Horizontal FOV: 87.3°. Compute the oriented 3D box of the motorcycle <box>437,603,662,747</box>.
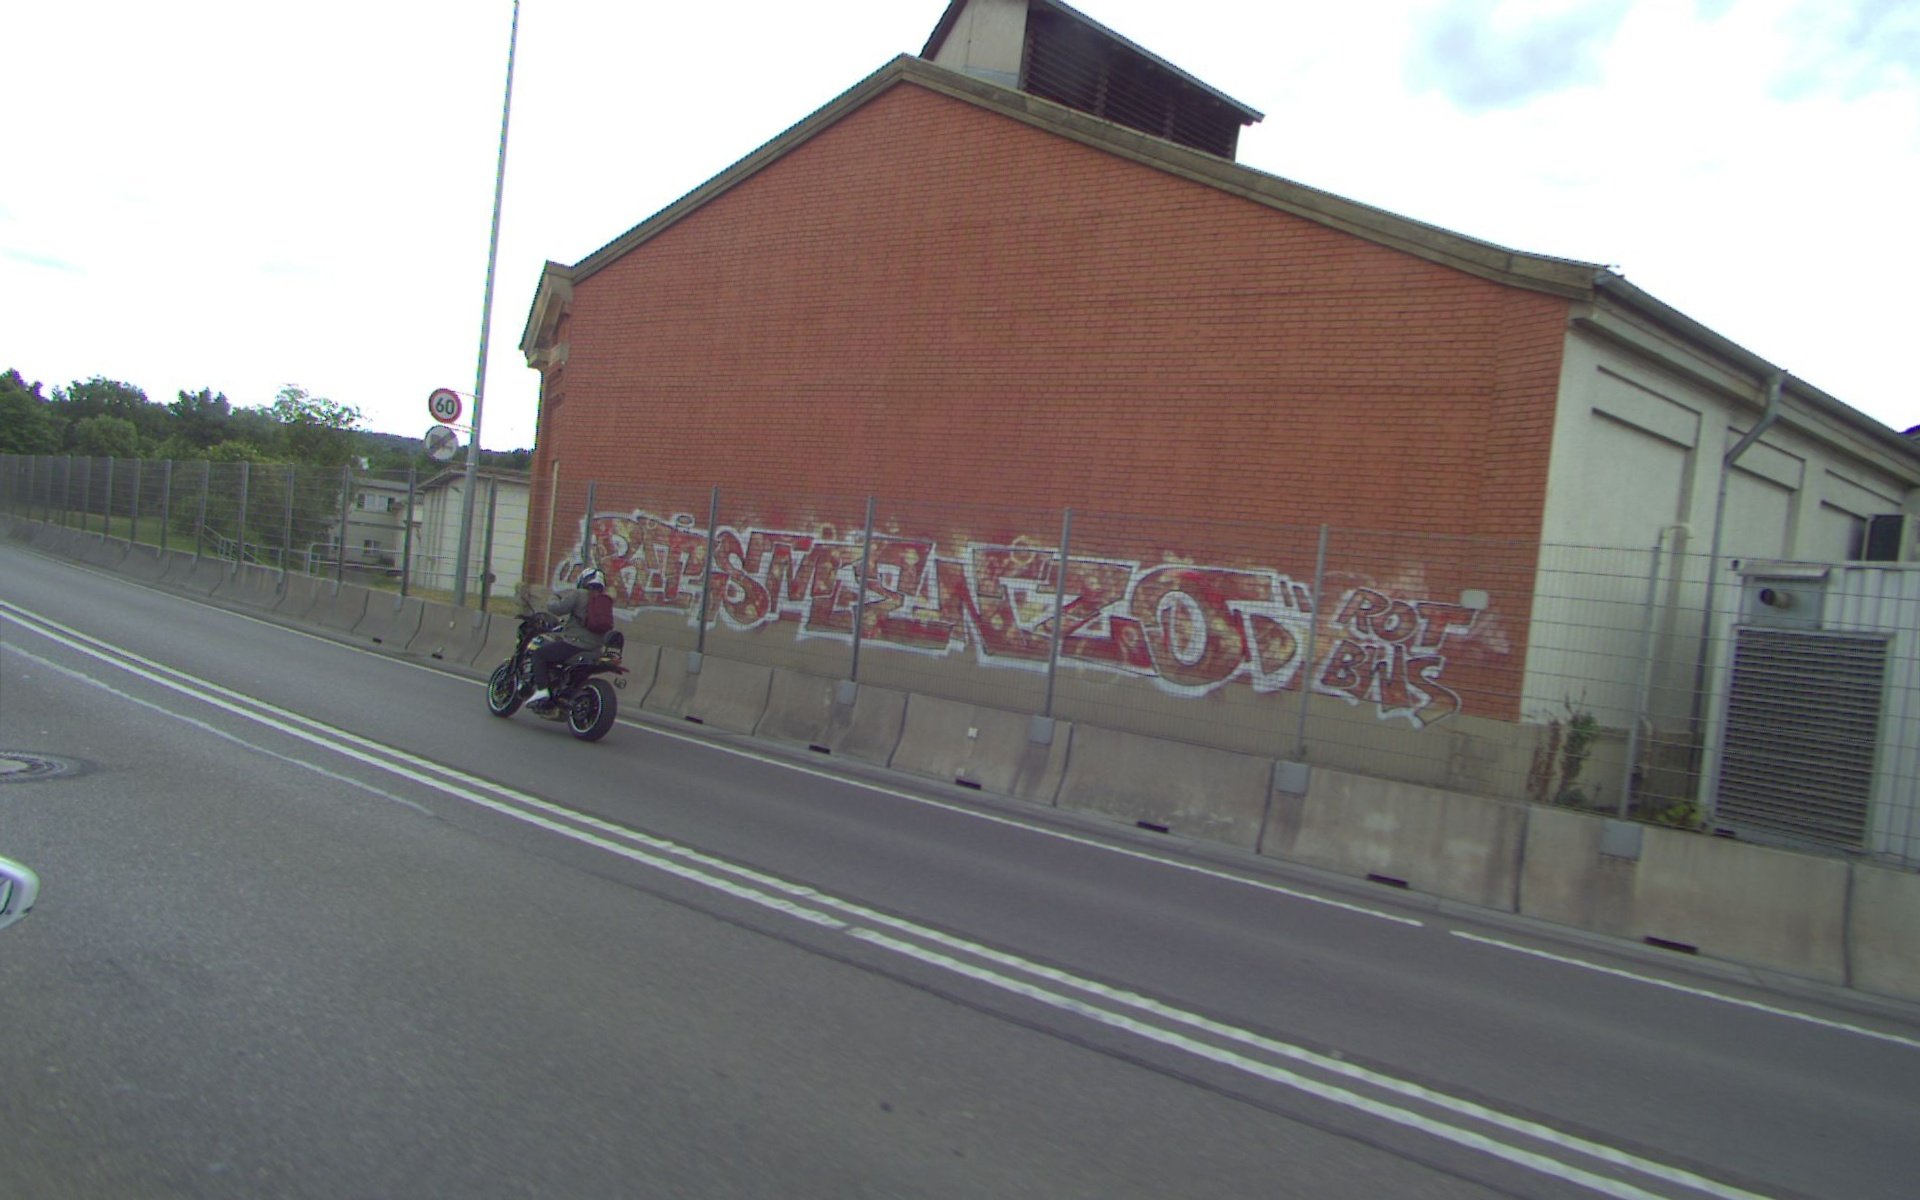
[{"bbox_3d":[-4.270,0.723,10.342,2.622,1.097,0.744,6,0,34],"label":"motorcycle"}]

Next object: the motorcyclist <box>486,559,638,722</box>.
[{"bbox_3d":[-4.023,0.411,10.187,0.951,1.495,0.913,7,0,34],"label":"motorcyclist"}]
